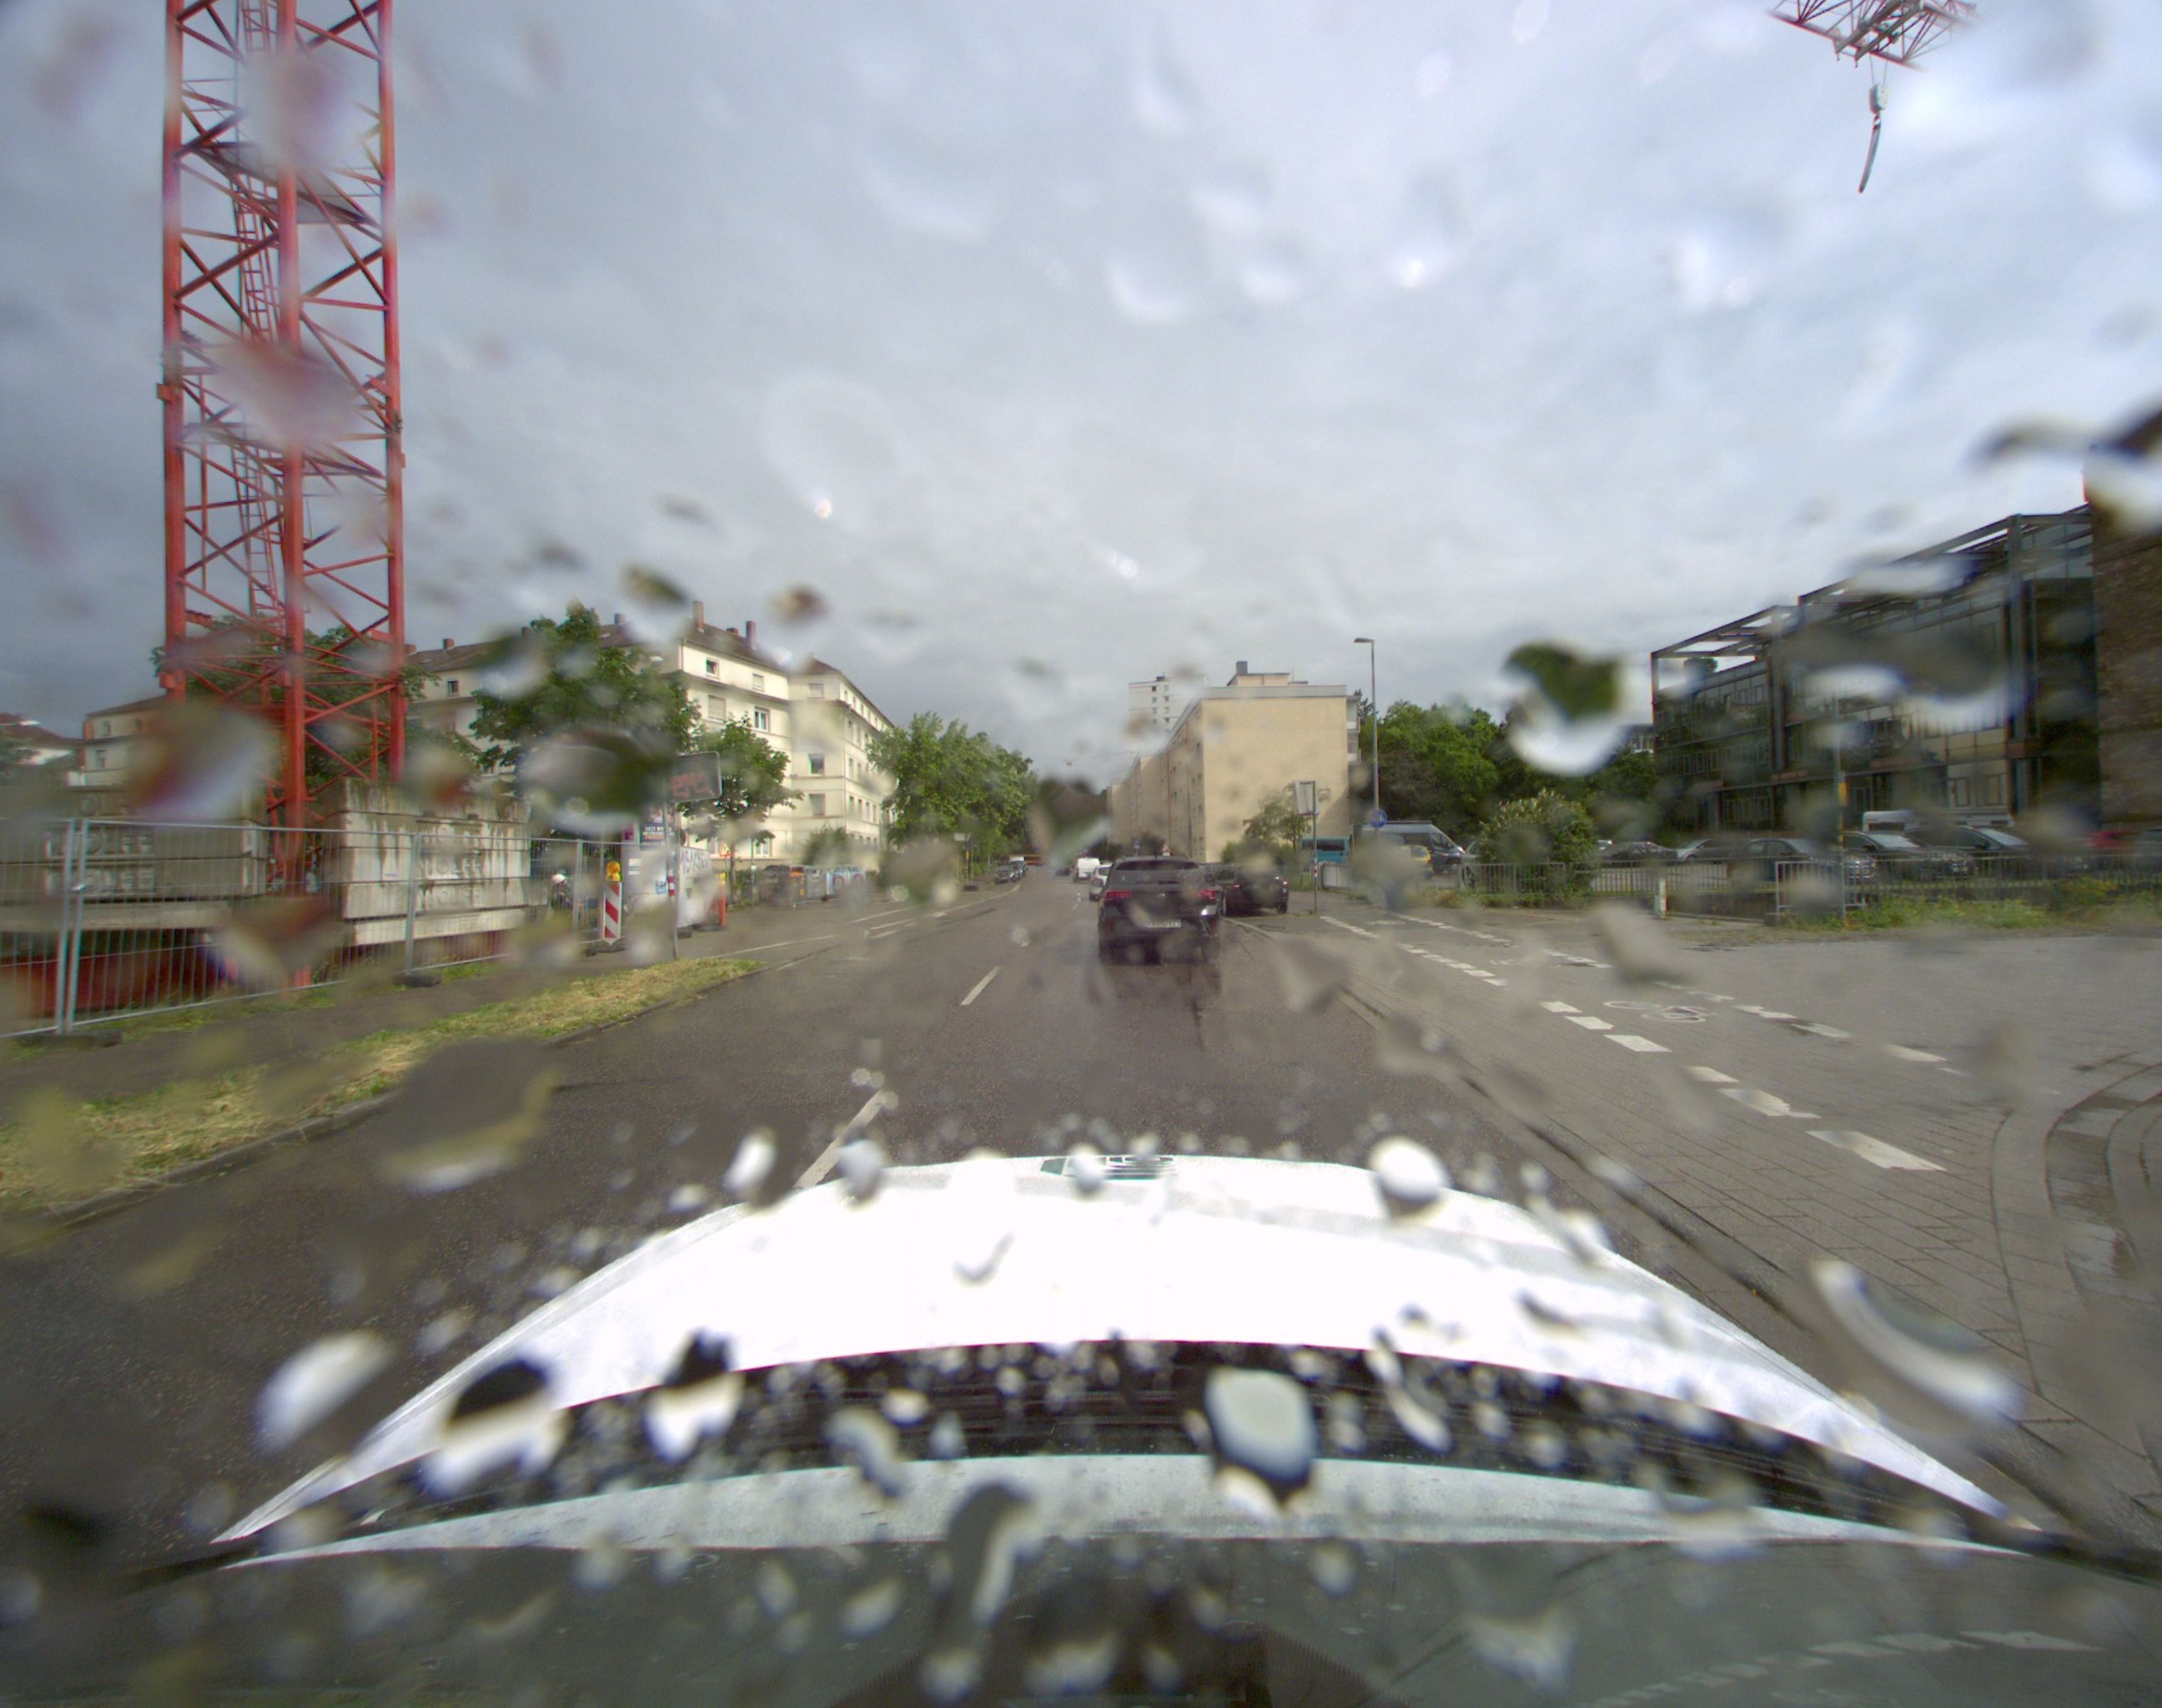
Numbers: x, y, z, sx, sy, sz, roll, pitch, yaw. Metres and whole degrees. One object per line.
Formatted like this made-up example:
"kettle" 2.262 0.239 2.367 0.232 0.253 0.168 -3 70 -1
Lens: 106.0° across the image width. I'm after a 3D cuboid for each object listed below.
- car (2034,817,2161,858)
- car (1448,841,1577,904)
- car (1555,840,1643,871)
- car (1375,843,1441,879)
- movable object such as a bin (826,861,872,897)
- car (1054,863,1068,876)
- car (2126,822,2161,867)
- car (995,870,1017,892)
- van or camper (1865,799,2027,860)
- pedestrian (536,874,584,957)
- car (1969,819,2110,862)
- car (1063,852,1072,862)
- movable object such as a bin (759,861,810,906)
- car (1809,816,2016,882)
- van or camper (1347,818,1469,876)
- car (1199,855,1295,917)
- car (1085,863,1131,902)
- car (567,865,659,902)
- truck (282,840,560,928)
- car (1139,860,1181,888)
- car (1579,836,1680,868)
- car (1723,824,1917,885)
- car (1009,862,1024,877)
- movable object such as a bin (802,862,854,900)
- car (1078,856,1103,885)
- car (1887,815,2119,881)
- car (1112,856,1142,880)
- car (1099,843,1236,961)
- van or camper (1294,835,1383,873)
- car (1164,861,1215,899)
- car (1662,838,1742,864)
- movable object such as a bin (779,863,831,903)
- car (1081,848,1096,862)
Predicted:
"car" 38.768 -0.619 30.700 3.652 1.486 1.673 0 -1 1
"car" 13.429 0.548 25.654 1.797 1.750 4.238 -2 -1 1
"car" 27.891 0.092 43.926 3.651 1.486 1.641 -2 -1 3
"car" 14.047 0.295 35.131 1.604 1.449 3.419 -2 -1 3
"movable object such as a bin" -11.262 1.211 39.517 1.525 1.662 1.466 -2 0 19
"car" -2.499 1.880 101.636 1.601 1.510 3.543 -3 -1 -4
"car" 39.038 -0.391 28.125 3.653 1.524 1.673 -2 -1 1
"car" -5.849 2.092 63.793 1.583 1.506 4.058 -3 0 -4
"van or camper" 37.982 -1.036 35.856 4.771 2.487 2.257 0 -2 -1
"pedestrian" -10.576 1.222 16.529 0.727 1.630 0.676 2 -2 -37
"car" 38.942 -0.532 33.155 3.653 1.576 1.673 -2 -1 1
"car" -2.722 0.629 165.752 1.661 1.838 3.997 -2 0 -2
"movable object such as a bin" -12.694 1.269 34.891 1.525 1.824 1.269 -2 0 19
"car" 24.251 -0.123 24.028 1.844 1.679 4.431 -2 -1 6
"van or camper" 15.582 -0.301 39.028 4.980 2.555 2.175 -1 -2 1
"car" 4.741 0.876 23.938 1.769 1.539 4.376 -4 0 -1
"car" 1.091 1.168 33.995 1.807 1.503 3.999 0 -1 0
"car" -22.066 1.392 38.442 3.473 1.585 1.671 -2 -1 13
"truck" -27.514 1.239 34.093 9.742 3.184 3.806 -2 -1 14
"car" 4.497 1.097 46.977 1.745 1.508 4.106 -1 0 -3
"car" 27.815 -0.106 41.393 3.959 1.465 1.673 -2 -1 1
"car" 21.109 0.031 23.564 1.820 1.527 4.429 -2 -1 5
"car" -7.431 1.788 93.820 1.583 1.639 3.914 -3 0 -4
"movable object such as a bin" -11.780 1.255 37.998 1.525 1.674 1.674 -2 0 19
"car" 0.685 1.286 62.244 1.831 2.103 3.998 0 -1 -1
"car" 26.624 -0.143 23.795 1.846 1.679 4.426 -2 -1 2
"car" 3.220 0.969 57.652 1.601 1.661 4.026 0 0 -4
"car" 1.264 0.715 13.501 1.867 1.645 4.061 0 -1 0
"van or camper" 15.540 -0.017 49.387 4.738 2.131 2.324 -1 0 3
"car" 4.616 1.122 35.218 1.750 1.528 4.001 -1 -2 1
"car" 38.535 -0.191 50.594 3.652 1.486 1.673 -1 -1 1
"movable object such as a bin" -12.328 1.277 36.433 1.525 1.656 1.535 -2 0 19
"car" 0.950 0.139 103.156 1.834 1.608 3.676 -3 -1 1
